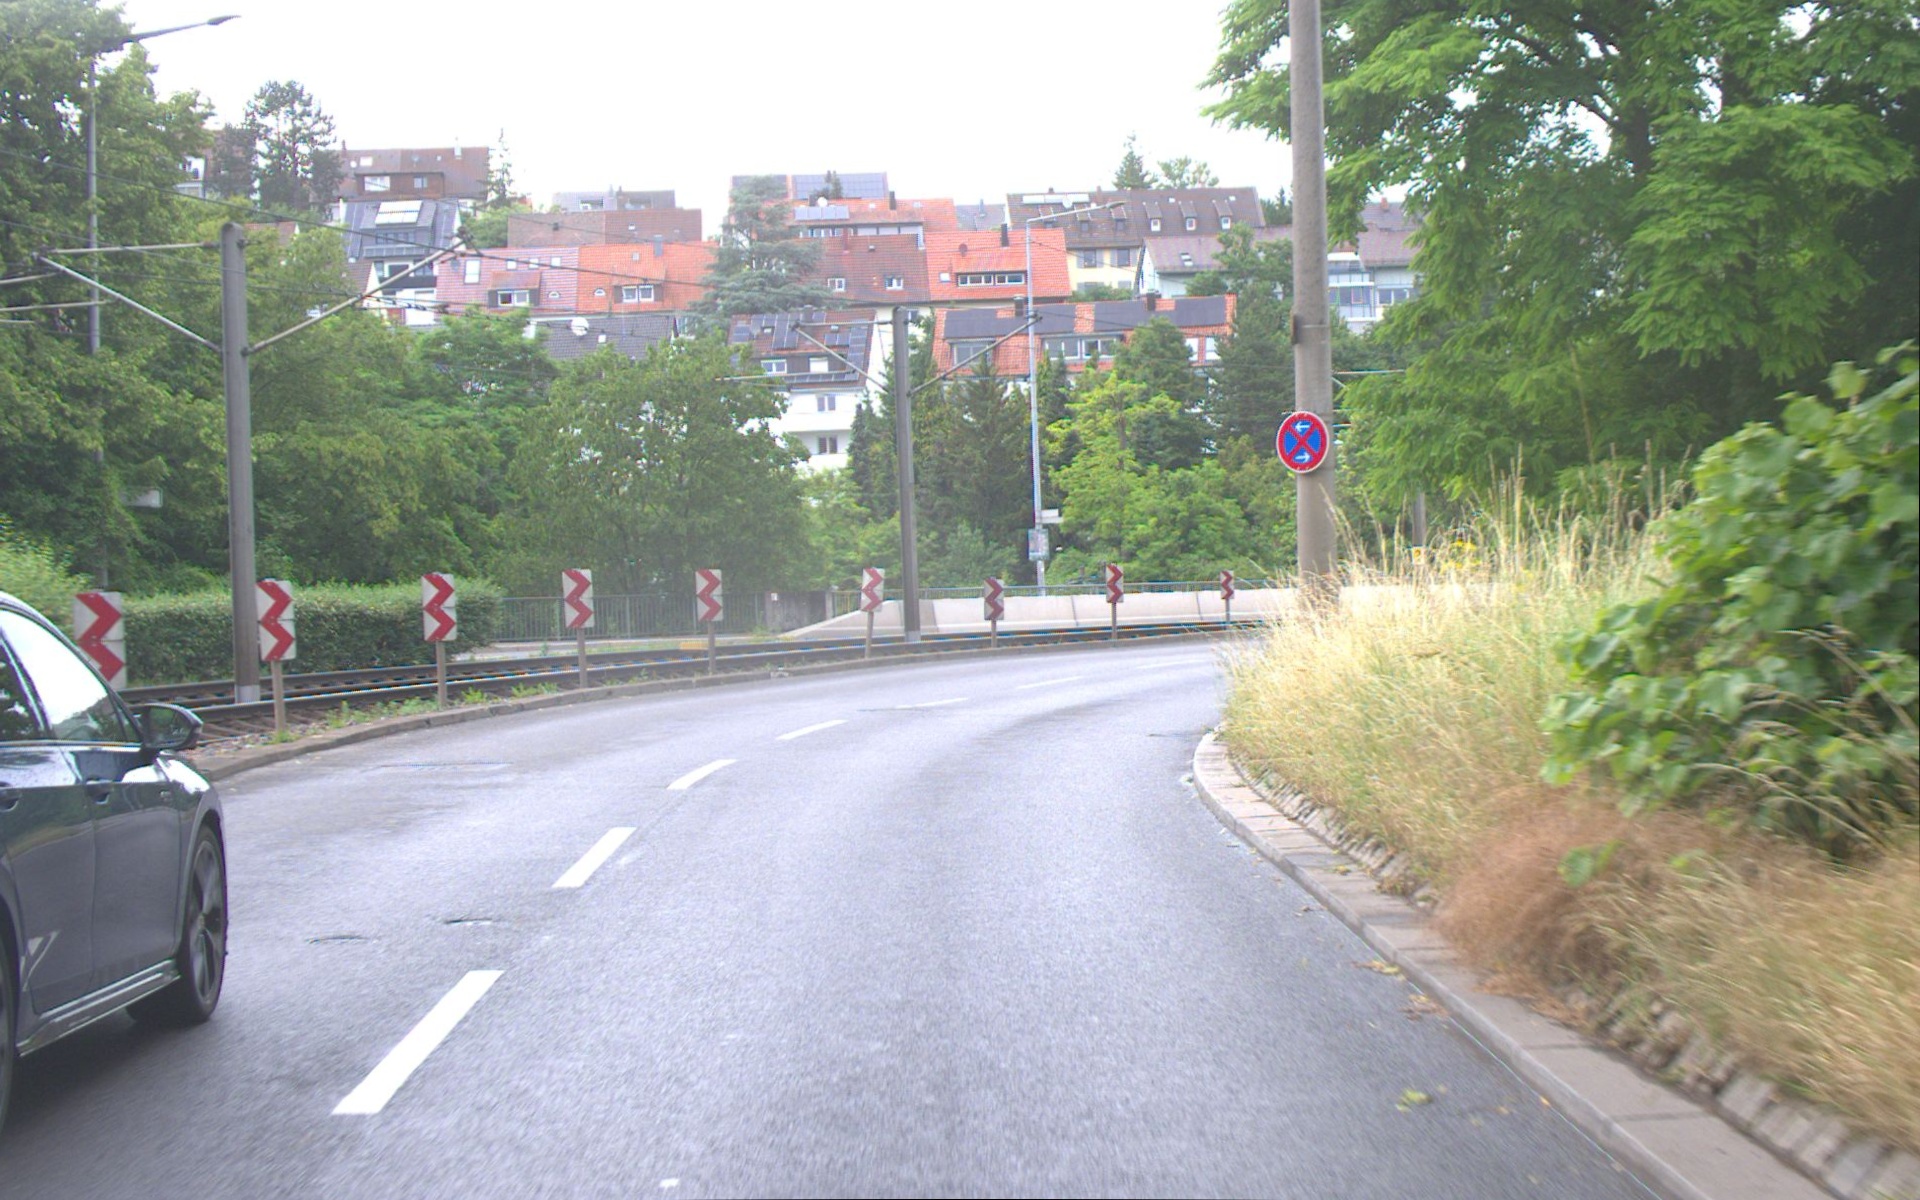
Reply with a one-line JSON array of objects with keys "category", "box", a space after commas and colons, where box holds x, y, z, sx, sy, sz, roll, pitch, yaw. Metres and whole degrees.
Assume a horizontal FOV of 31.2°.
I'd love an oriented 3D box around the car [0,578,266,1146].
[{"category": "car", "box": [-3.243, 0.631, 9.548, 1.808, 1.374, 4.347, 0, 0, -1]}]
